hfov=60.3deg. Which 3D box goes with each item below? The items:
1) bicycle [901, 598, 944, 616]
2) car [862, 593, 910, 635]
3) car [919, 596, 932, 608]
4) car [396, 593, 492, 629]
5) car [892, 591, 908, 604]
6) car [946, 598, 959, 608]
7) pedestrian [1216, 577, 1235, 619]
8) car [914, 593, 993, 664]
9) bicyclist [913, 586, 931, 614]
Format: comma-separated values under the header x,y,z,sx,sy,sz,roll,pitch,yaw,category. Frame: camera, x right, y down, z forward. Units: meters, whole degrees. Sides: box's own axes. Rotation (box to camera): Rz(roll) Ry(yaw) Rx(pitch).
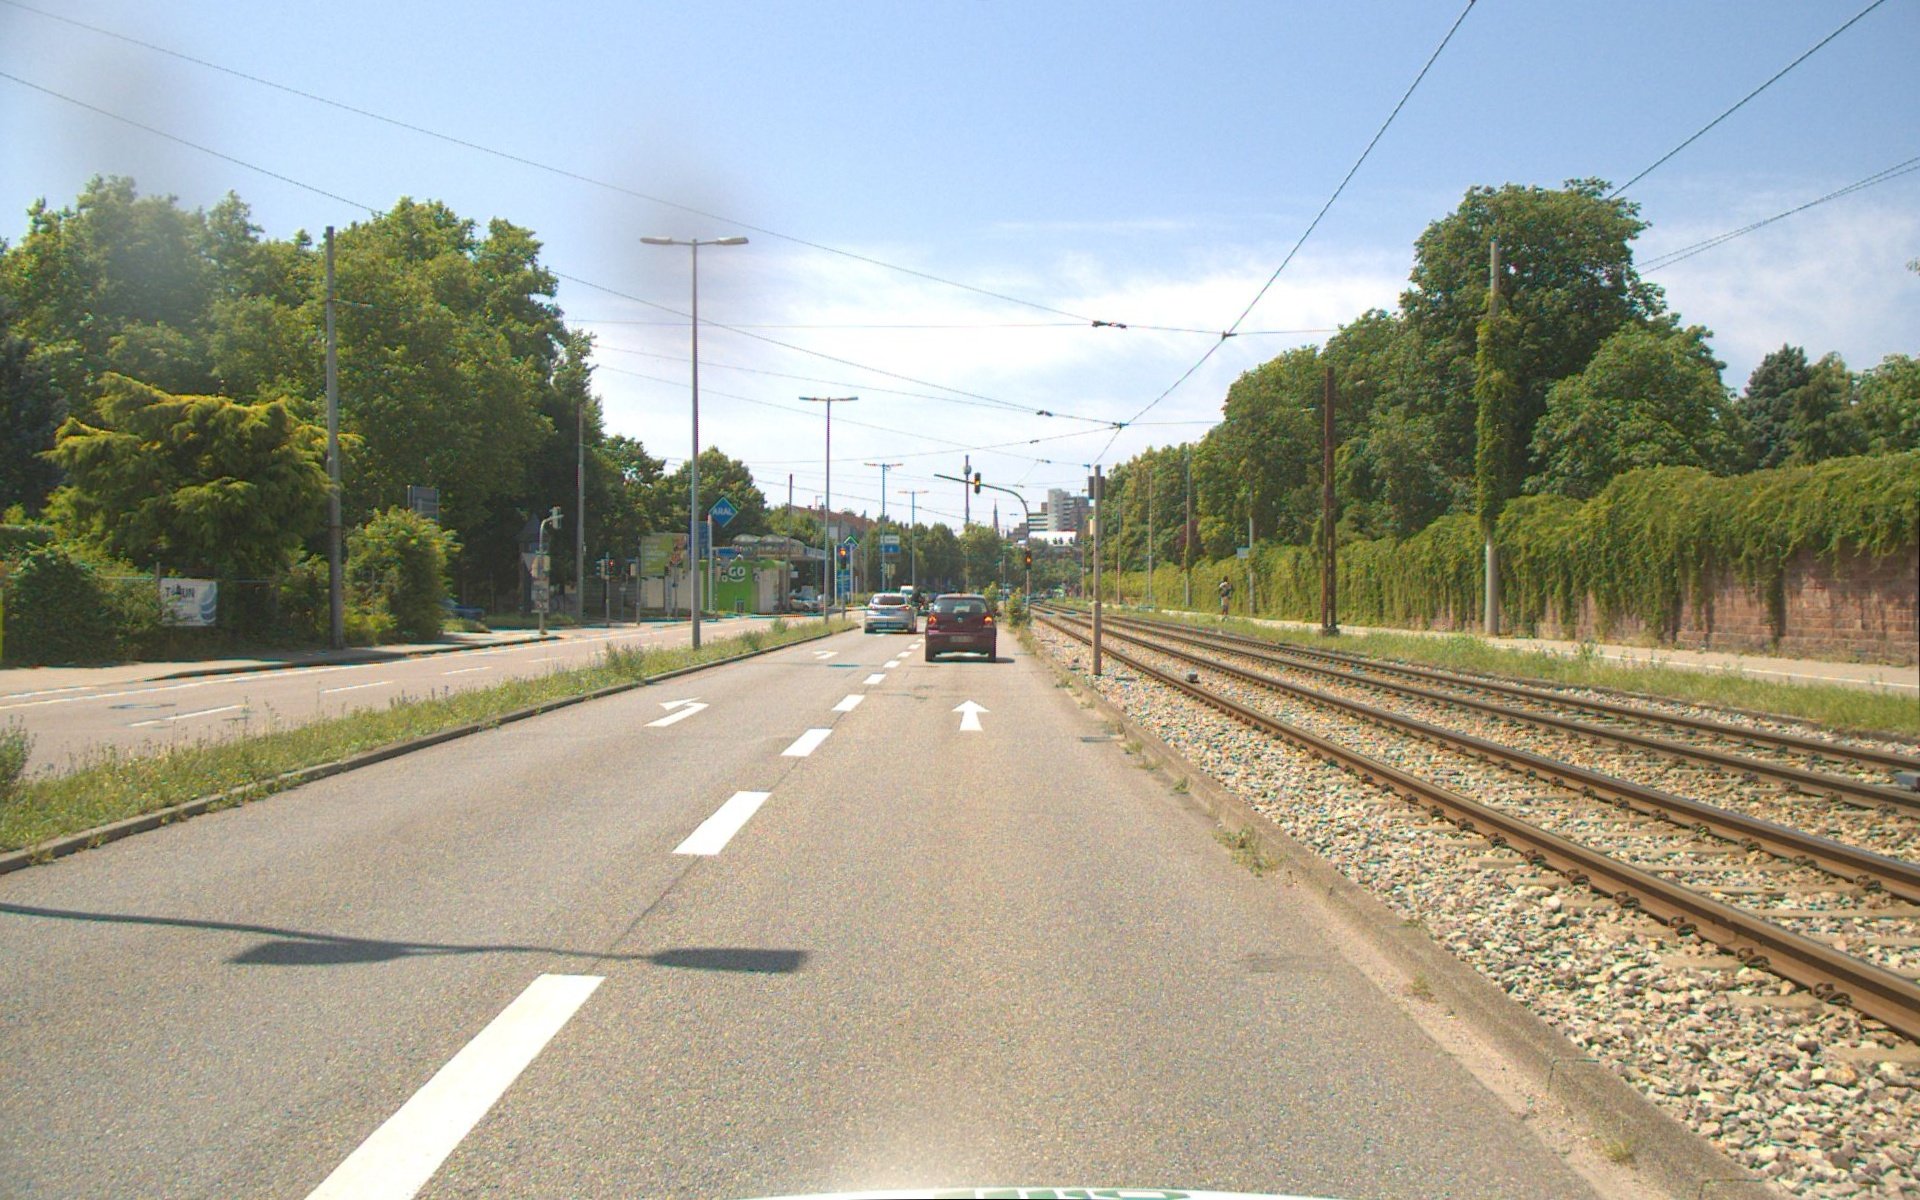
x,y,z,sx,sy,sz,roll,pitch,yaw,category
-2.262,0.440,99.624,2.503,1.056,1.085,1,-1,-9,bicycle
-2.718,0.513,61.430,1.668,1.506,3.715,0,0,-1,car
-5.150,0.282,248.095,1.712,1.716,4.001,0,0,2,car
-24.159,0.518,77.416,3.901,1.607,1.773,-1,0,11,car
-7.915,-0.349,219.519,1.954,1.624,3.996,1,-1,-4,car
-1.090,0.459,245.318,1.701,1.443,4.001,0,0,2,car
11.093,-0.084,69.183,0.648,1.756,0.816,0,0,-1,pedestrian
-0.167,0.614,37.576,1.668,1.503,3.715,1,0,-1,car
-2.306,0.000,99.646,0.926,1.621,1.085,1,-1,-9,bicyclist
